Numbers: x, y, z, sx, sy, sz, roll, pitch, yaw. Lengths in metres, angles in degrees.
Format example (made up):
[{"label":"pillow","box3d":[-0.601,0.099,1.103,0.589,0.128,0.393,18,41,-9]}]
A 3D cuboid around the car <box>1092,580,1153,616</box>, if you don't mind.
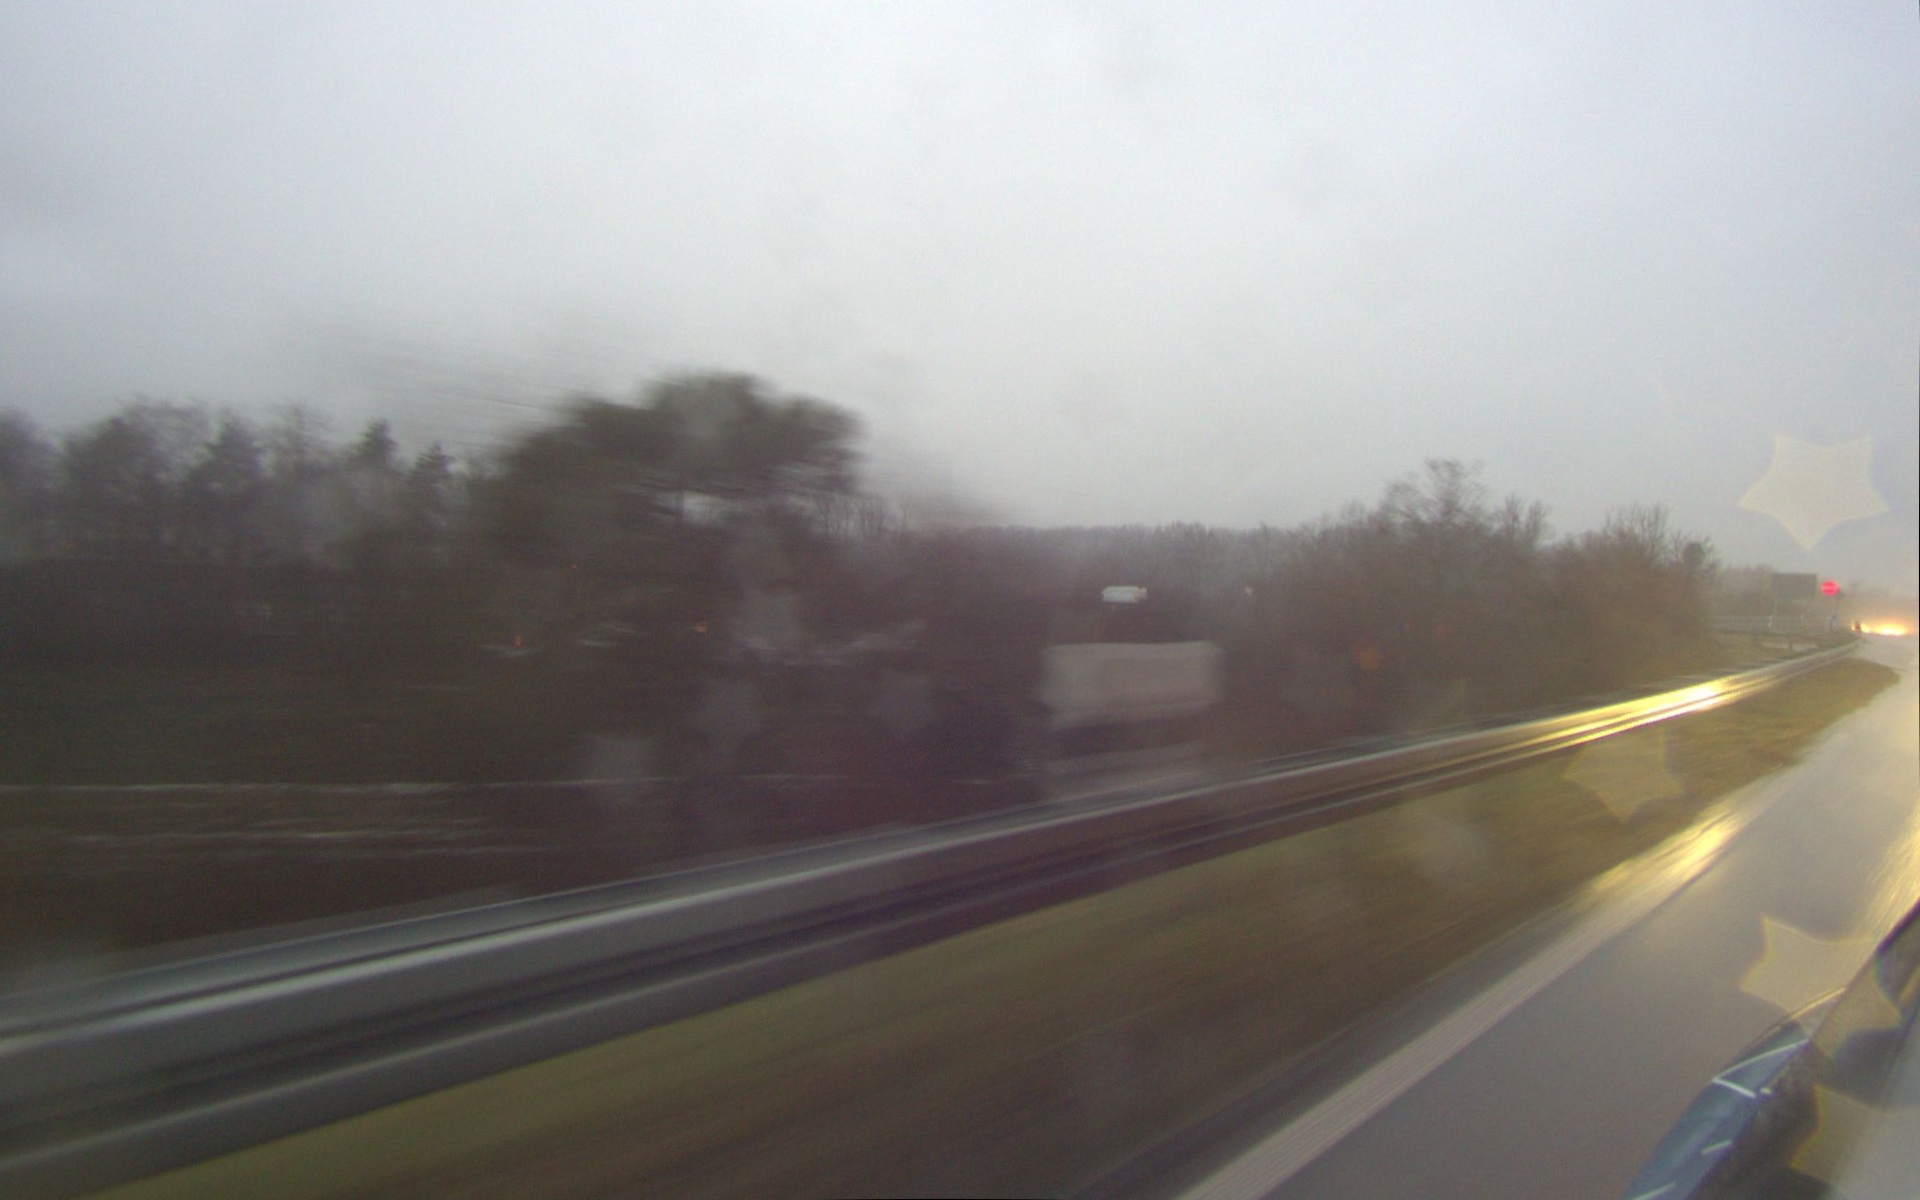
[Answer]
[{"label":"car","box3d":[15.433,-0.230,96.358,2.242,3.002,6.402,2,2,-28]}]
